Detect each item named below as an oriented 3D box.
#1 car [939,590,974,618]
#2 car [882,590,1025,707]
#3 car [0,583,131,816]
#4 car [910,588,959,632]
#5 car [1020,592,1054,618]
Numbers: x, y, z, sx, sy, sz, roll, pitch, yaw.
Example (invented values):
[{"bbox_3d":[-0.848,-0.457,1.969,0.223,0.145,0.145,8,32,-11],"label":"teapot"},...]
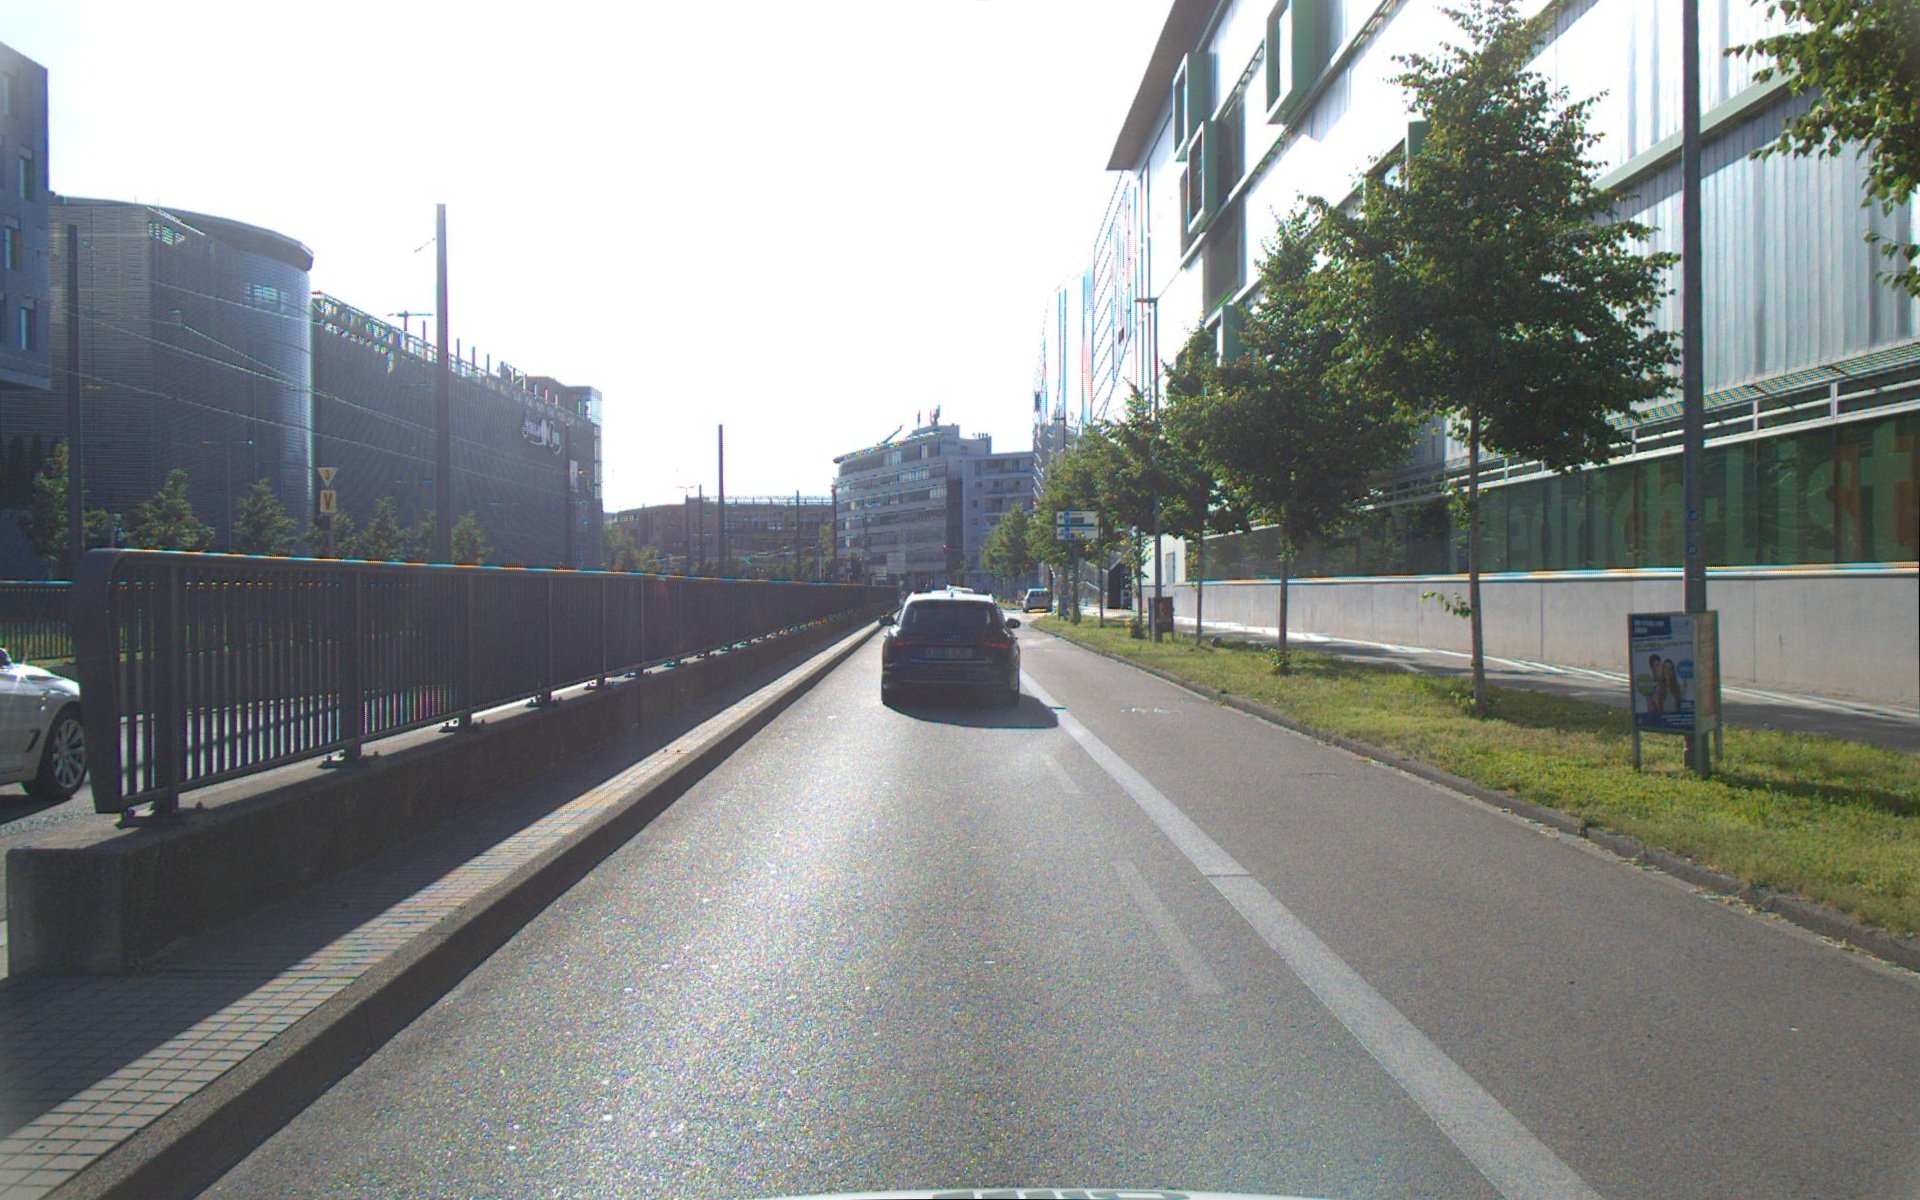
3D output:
[{"bbox_3d":[-0.210,0.195,95.572,1.953,1.491,4.000,1,1,-1],"label":"car"},{"bbox_3d":[-0.142,0.607,23.017,1.776,1.452,4.688,0,0,-2],"label":"car"},{"bbox_3d":[-7.311,0.664,10.592,1.763,1.553,4.907,1,0,-4],"label":"car"},{"bbox_3d":[-1.007,0.359,64.086,1.815,1.573,3.999,1,1,-2],"label":"car"},{"bbox_3d":[4.905,0.318,105.701,1.815,1.506,4.852,-2,1,-2],"label":"car"}]
